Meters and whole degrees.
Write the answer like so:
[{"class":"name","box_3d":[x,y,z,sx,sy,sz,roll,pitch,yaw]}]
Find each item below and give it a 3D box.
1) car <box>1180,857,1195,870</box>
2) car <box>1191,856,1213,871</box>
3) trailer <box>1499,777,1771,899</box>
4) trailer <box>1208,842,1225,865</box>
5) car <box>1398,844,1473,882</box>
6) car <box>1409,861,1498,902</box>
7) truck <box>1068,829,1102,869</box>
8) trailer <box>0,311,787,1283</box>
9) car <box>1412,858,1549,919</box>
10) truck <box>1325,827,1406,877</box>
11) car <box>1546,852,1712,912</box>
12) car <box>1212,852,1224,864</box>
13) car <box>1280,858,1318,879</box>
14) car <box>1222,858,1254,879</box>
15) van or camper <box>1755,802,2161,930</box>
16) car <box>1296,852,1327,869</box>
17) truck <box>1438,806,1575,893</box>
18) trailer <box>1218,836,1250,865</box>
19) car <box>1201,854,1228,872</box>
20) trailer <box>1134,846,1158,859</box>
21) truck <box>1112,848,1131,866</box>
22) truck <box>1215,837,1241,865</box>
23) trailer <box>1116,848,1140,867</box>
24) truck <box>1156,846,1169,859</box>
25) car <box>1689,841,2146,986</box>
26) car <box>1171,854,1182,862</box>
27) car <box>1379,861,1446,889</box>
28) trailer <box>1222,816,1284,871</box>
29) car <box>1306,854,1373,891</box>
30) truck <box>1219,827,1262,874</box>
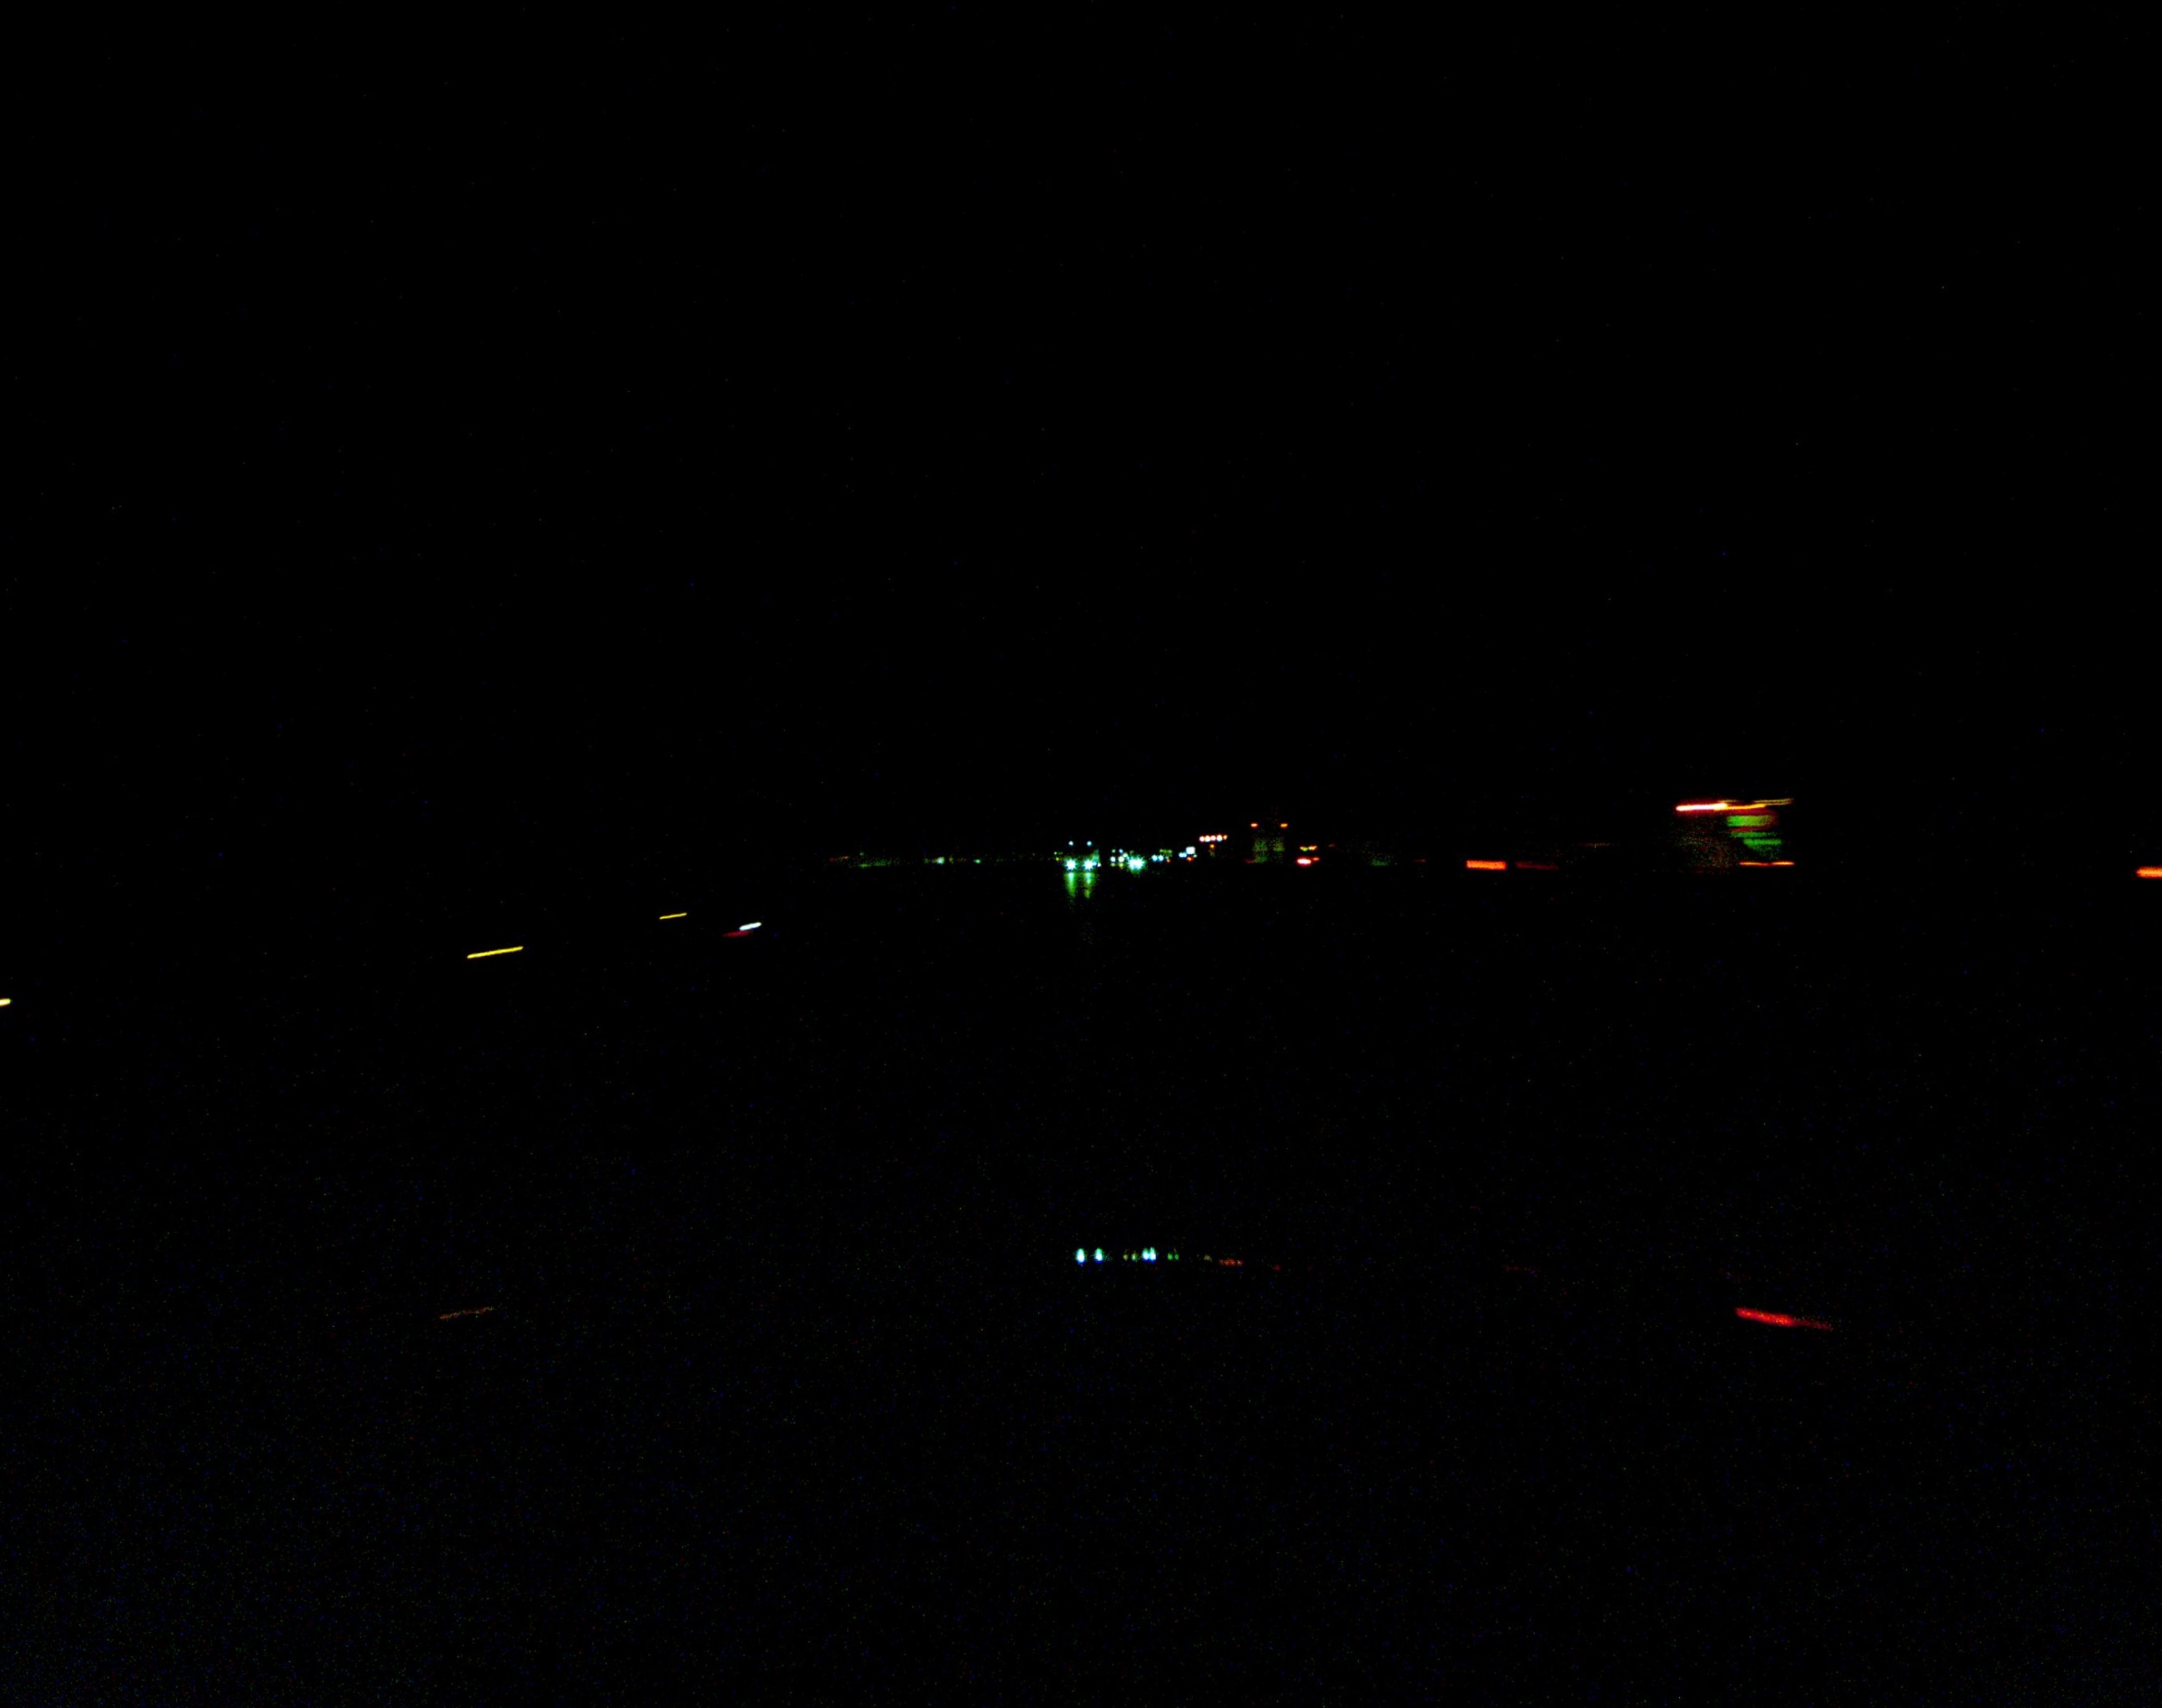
[{"class":"car","box_3d":[14.049,1.229,100.417,1.837,1.544,4.515,0,0,7]},{"class":"car","box_3d":[12.128,0.940,76.311,1.847,1.418,4.514,-3,0,5]},{"class":"trailer","box_3d":[17.592,-0.504,25.229,2.612,3.157,9.003,-3,1,2]},{"class":"trailer","box_3d":[28.028,-0.164,157.075,2.844,4.438,14.531,1,0,8]},{"class":"car","box_3d":[22.292,0.547,48.028,2.465,2.282,4.789,0,0,0]},{"class":"car","box_3d":[13.828,0.968,28.471,1.574,1.346,4.001,-1,0,4]},{"class":"truck","box_3d":[0.683,-0.555,89.548,3.491,4.110,18.710,-1,0,1]},{"class":"trailer","box_3d":[-5.905,-0.235,4.735,2.861,4.043,13.205,0,0,1]},{"class":"car","box_3d":[10.073,0.805,19.496,1.574,1.346,4.001,-1,0,3]},{"class":"truck","box_3d":[18.507,-0.126,50.007,2.563,2.942,8.173,-1,0,3]},{"class":"car","box_3d":[13.880,0.639,19.540,1.574,1.346,4.001,-1,0,4]},{"class":"car","box_3d":[24.269,0.659,134.865,1.907,1.876,5.022,-3,2,9]},{"class":"car","box_3d":[14.654,0.953,51.214,1.574,1.308,4.162,-1,0,4]},{"class":"car","box_3d":[10.744,0.956,52.271,1.574,1.346,4.001,-1,0,4]},{"class":"van or camper","box_3d":[17.876,0.171,14.983,2.193,2.002,7.640,-1,0,-2]},{"class":"car","box_3d":[19.207,0.541,63.556,1.574,1.308,4.162,-1,0,4]},{"class":"truck","box_3d":[17.868,-0.224,32.378,2.650,3.201,5.795,-3,1,2]},{"class":"trailer","box_3d":[21.391,-0.437,106.619,2.827,3.894,8.740,1,0,1]},{"class":"car","box_3d":[11.316,0.773,64.697,1.878,1.418,4.514,-2,0,5]},{"class":"trailer","box_3d":[21.299,-0.548,249.053,2.835,3.952,15.785,-1,2,23]},{"class":"truck","box_3d":[10.183,0.716,191.297,2.871,3.818,8.061,-2,2,17]},{"class":"truck","box_3d":[21.507,-0.397,111.300,2.834,3.893,4.935,1,0,1]},{"class":"trailer","box_3d":[12.209,0.819,196.784,2.878,3.910,12.897,-3,2,18]},{"class":"truck","box_3d":[25.599,-0.522,238.499,2.895,3.949,4.006,-1,2,23]},{"class":"car","box_3d":[10.205,0.616,9.826,1.662,1.462,4.001,-1,0,4]},{"class":"car","box_3d":[16.061,0.656,127.879,1.631,1.342,4.002,-1,0,7]},{"class":"car","box_3d":[17.629,1.084,40.621,1.574,1.346,4.576,0,0,0]},{"class":"trailer","box_3d":[14.437,-0.932,64.946,3.097,4.065,12.450,-3,1,4]},{"class":"car","box_3d":[10.396,0.709,30.861,1.574,1.346,4.001,-1,0,4]},{"class":"truck","box_3d":[15.112,-0.350,72.291,3.115,4.074,7.078,-3,1,6]}]
